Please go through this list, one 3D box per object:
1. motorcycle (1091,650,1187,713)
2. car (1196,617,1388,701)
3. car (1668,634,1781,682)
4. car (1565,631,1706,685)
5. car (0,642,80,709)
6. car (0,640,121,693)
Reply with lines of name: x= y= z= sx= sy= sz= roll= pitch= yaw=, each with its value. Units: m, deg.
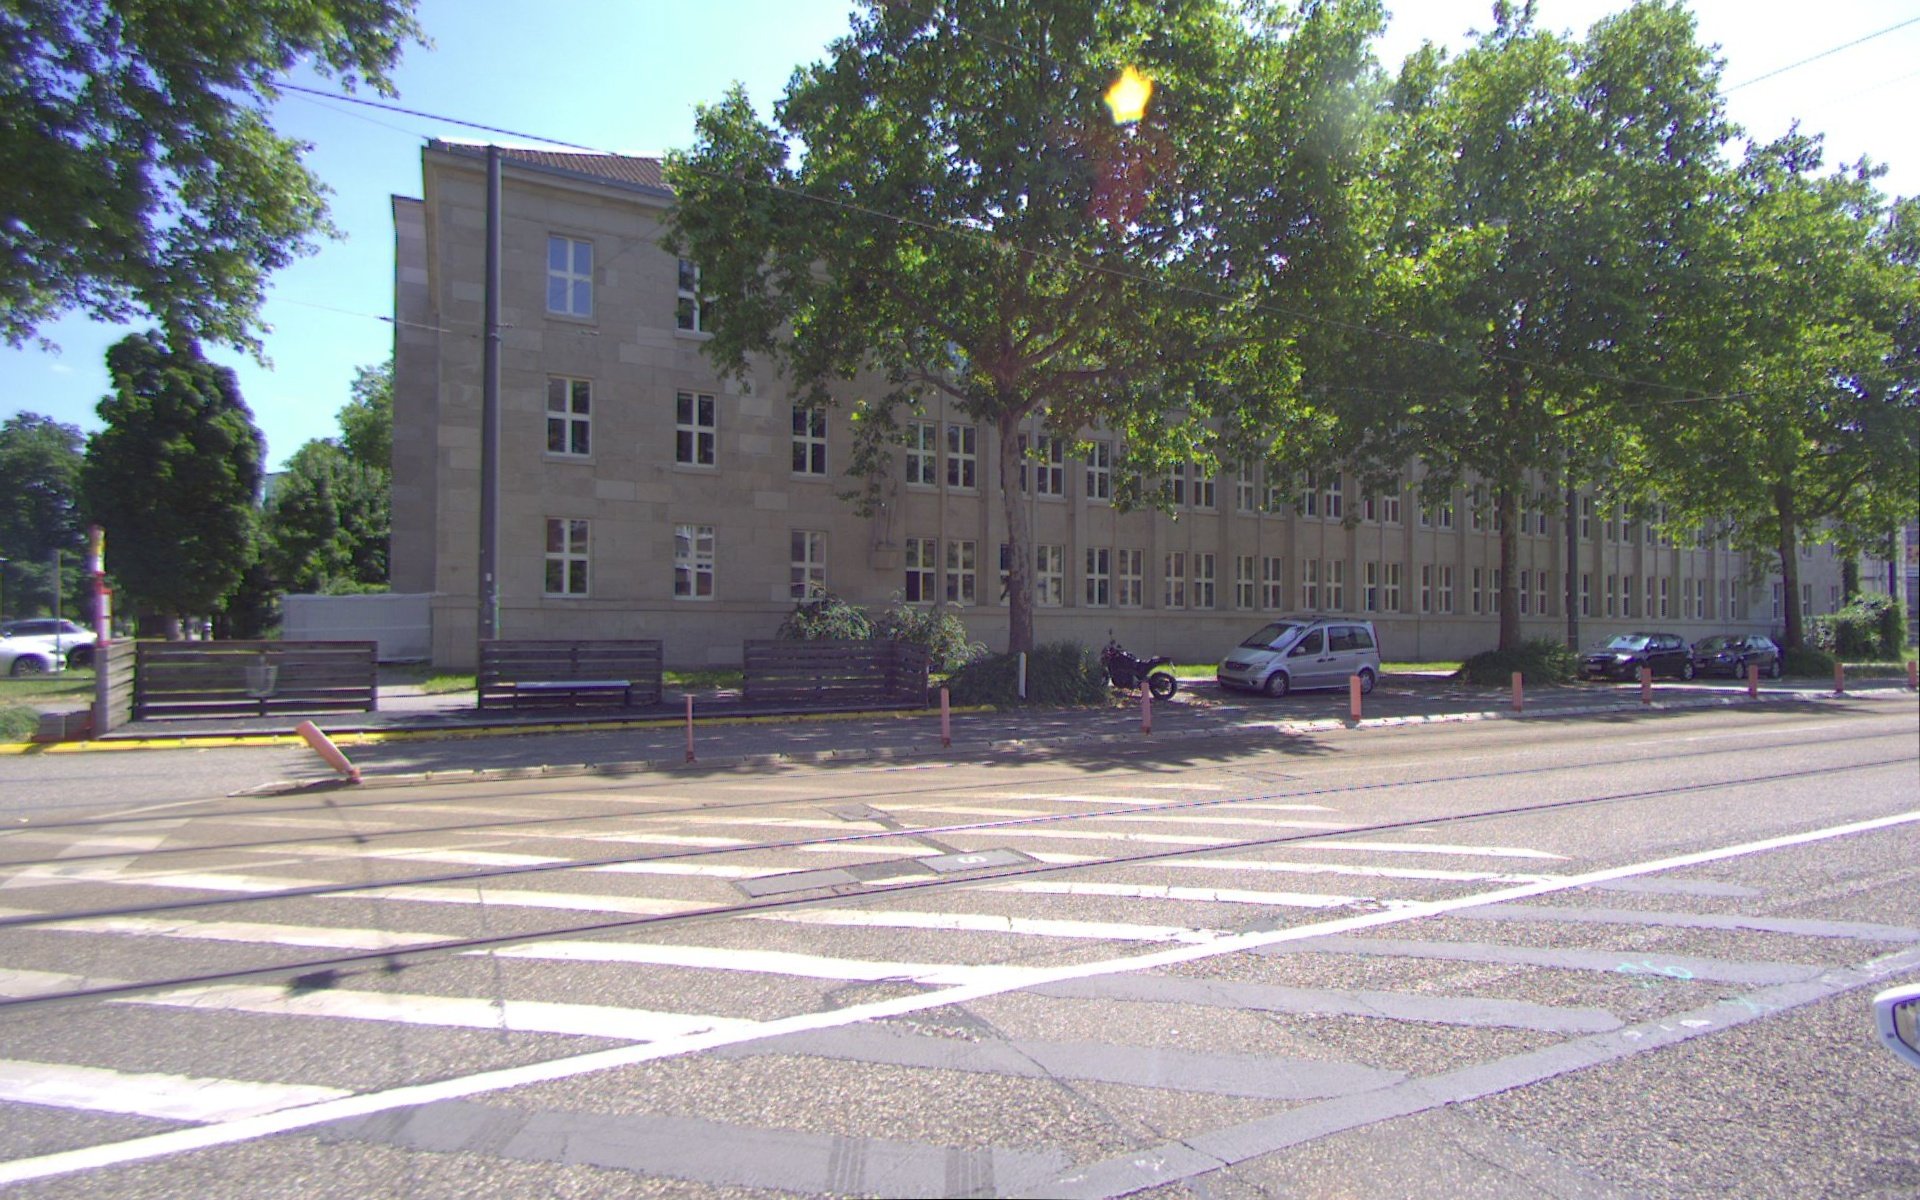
motorcycle: x=3.868 y=1.744 z=21.810 sx=1.839 sy=1.082 sz=0.725 roll=6 pitch=3 yaw=32
car: x=7.984 y=1.355 z=24.133 sx=4.244 sy=1.835 sz=1.987 roll=1 pitch=0 yaw=-26
car: x=25.385 y=1.877 z=33.312 sx=4.275 sy=1.443 sz=1.579 roll=1 pitch=-1 yaw=-32
car: x=20.692 y=1.731 z=30.742 sx=4.268 sy=1.503 sz=1.756 roll=1 pitch=-1 yaw=-28
car: x=-24.169 y=1.844 z=23.866 sx=1.880 sy=1.528 sz=4.530 roll=0 pitch=-1 yaw=27
car: x=-27.186 y=1.921 z=29.479 sx=1.690 sy=1.395 sz=3.588 roll=0 pitch=-1 yaw=30
